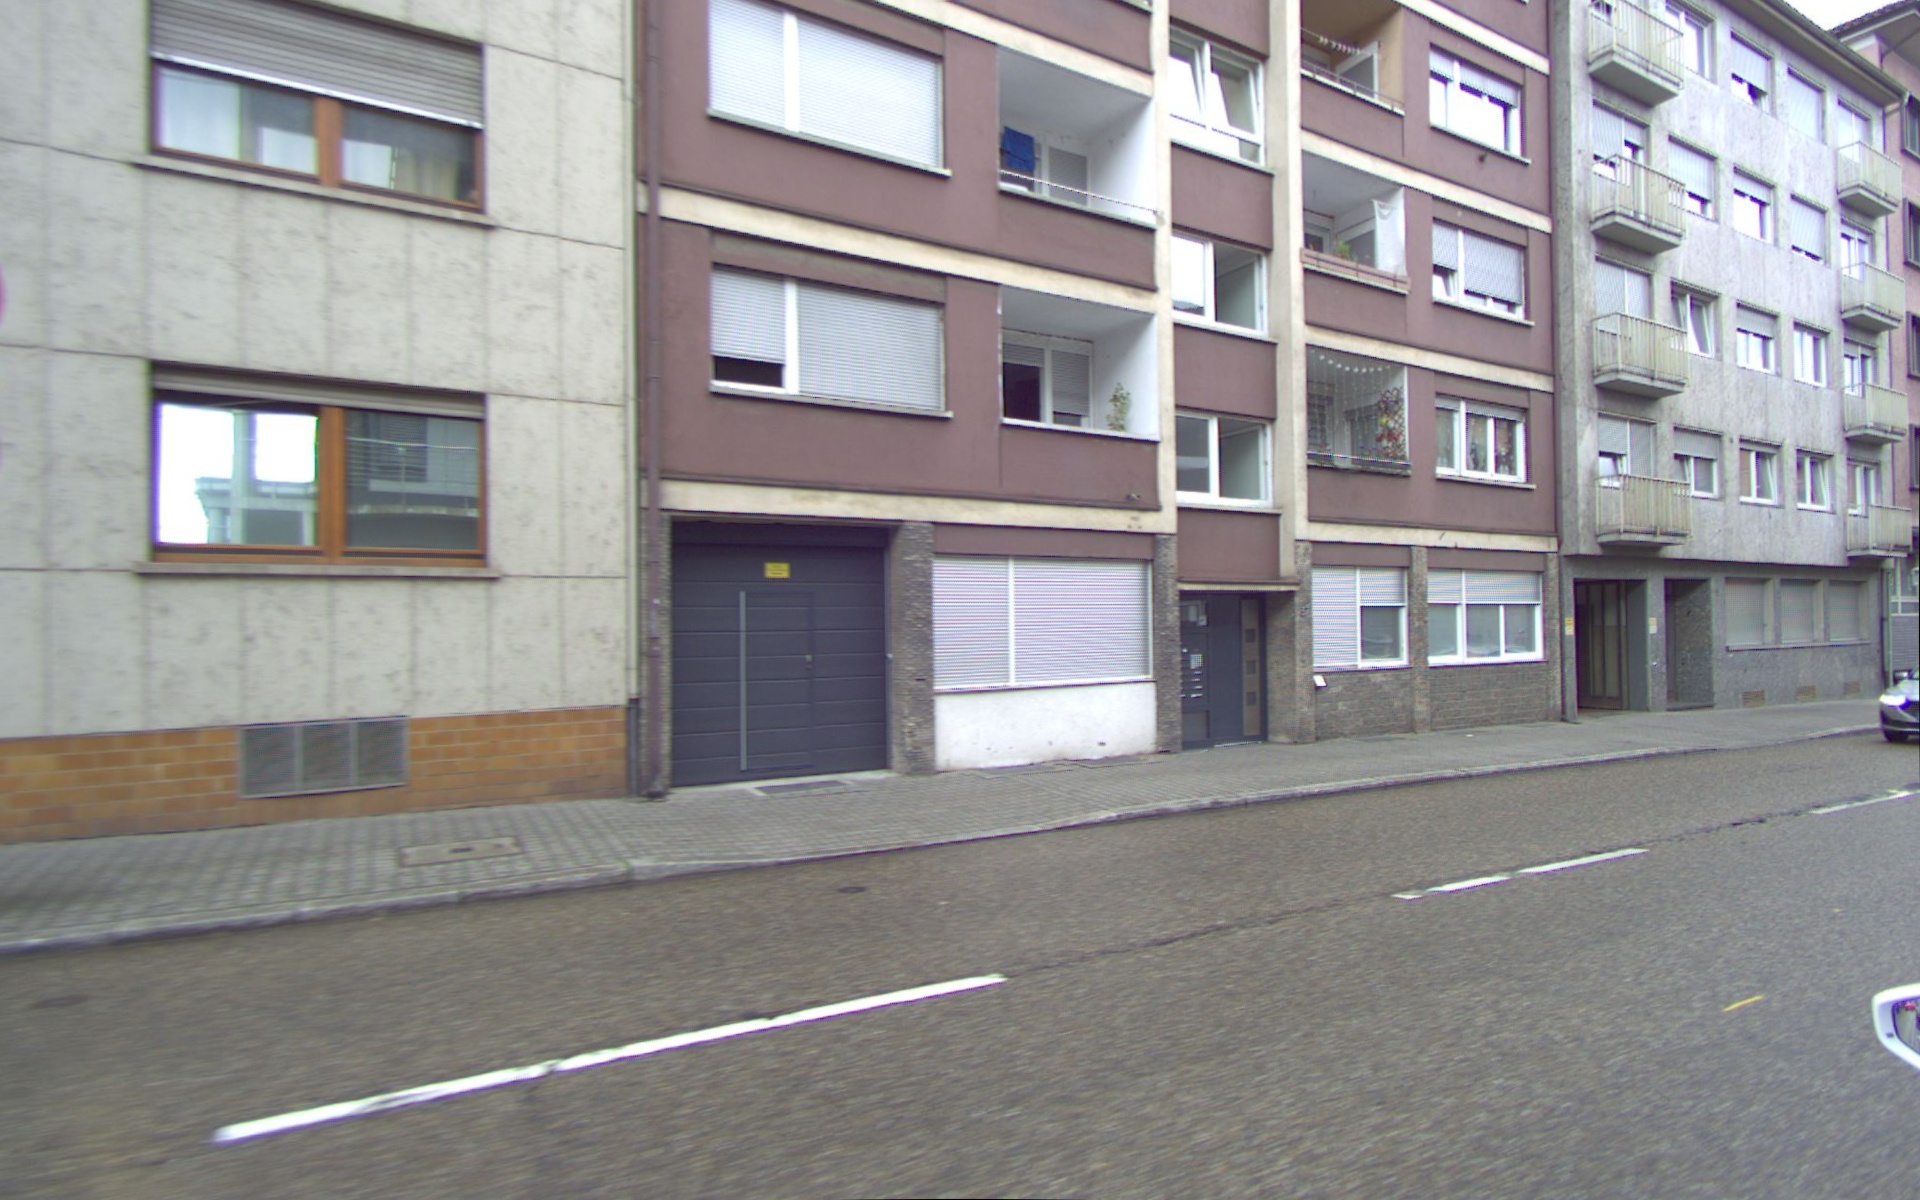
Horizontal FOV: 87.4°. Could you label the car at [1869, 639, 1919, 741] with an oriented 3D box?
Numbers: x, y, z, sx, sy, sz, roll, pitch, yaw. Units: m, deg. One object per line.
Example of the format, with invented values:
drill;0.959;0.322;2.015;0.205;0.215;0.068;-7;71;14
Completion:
car;16.587;1.424;16.225;4.312;1.559;1.762;2;-4;-33
